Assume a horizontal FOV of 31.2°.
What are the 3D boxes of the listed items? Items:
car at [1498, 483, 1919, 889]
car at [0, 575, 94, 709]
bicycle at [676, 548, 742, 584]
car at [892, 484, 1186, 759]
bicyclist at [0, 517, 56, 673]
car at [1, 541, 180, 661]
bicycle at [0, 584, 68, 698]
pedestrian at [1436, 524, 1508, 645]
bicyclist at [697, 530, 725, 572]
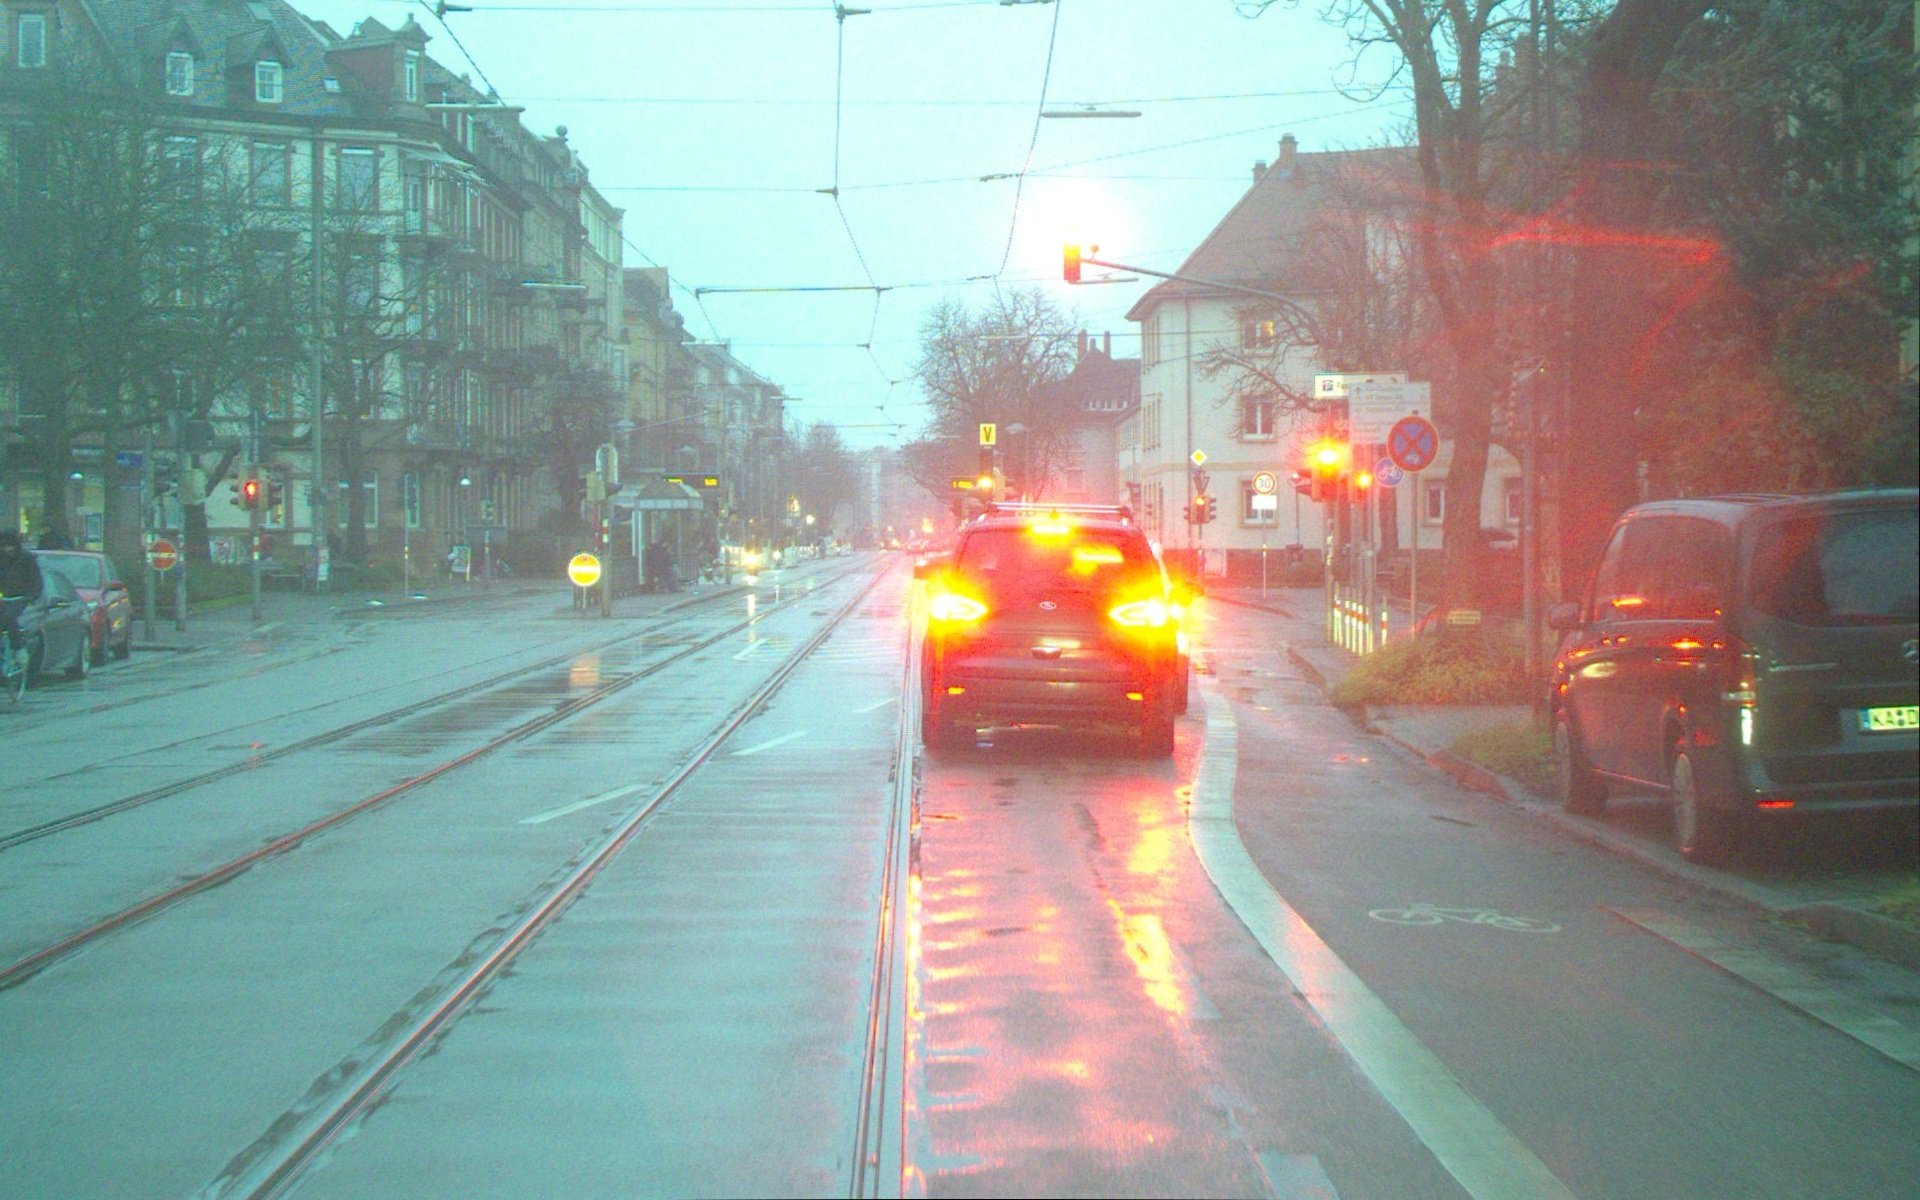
[{"bbox_3d":[4.397,0.323,18.761,1.993,1.894,5.028,-1,2,-1],"label":"car"},{"bbox_3d":[-11.904,0.487,41.656,1.833,1.442,4.001,-1,2,-1],"label":"car"},{"bbox_3d":[-8.267,-1.112,113.282,2.103,1.129,0.557,-1,2,-14],"label":"bicycle"},{"bbox_3d":[0.504,0.142,26.412,1.993,1.890,4.759,1,0,-2],"label":"car"},{"bbox_3d":[-9.954,-0.062,36.013,0.716,1.597,0.931,-1,2,-2],"label":"bicyclist"},{"bbox_3d":[-12.151,-0.014,48.243,1.629,1.545,3.500,-1,2,-1],"label":"car"},{"bbox_3d":[-9.940,0.417,35.969,0.716,1.106,2.065,-1,2,-2],"label":"bicycle"},{"bbox_3d":[8.629,-0.269,57.946,1.022,2.006,0.919,-1,2,-4],"label":"pedestrian"},{"bbox_3d":[-8.207,-1.606,113.285,0.822,1.371,0.557,-1,2,-14],"label":"bicyclist"}]
